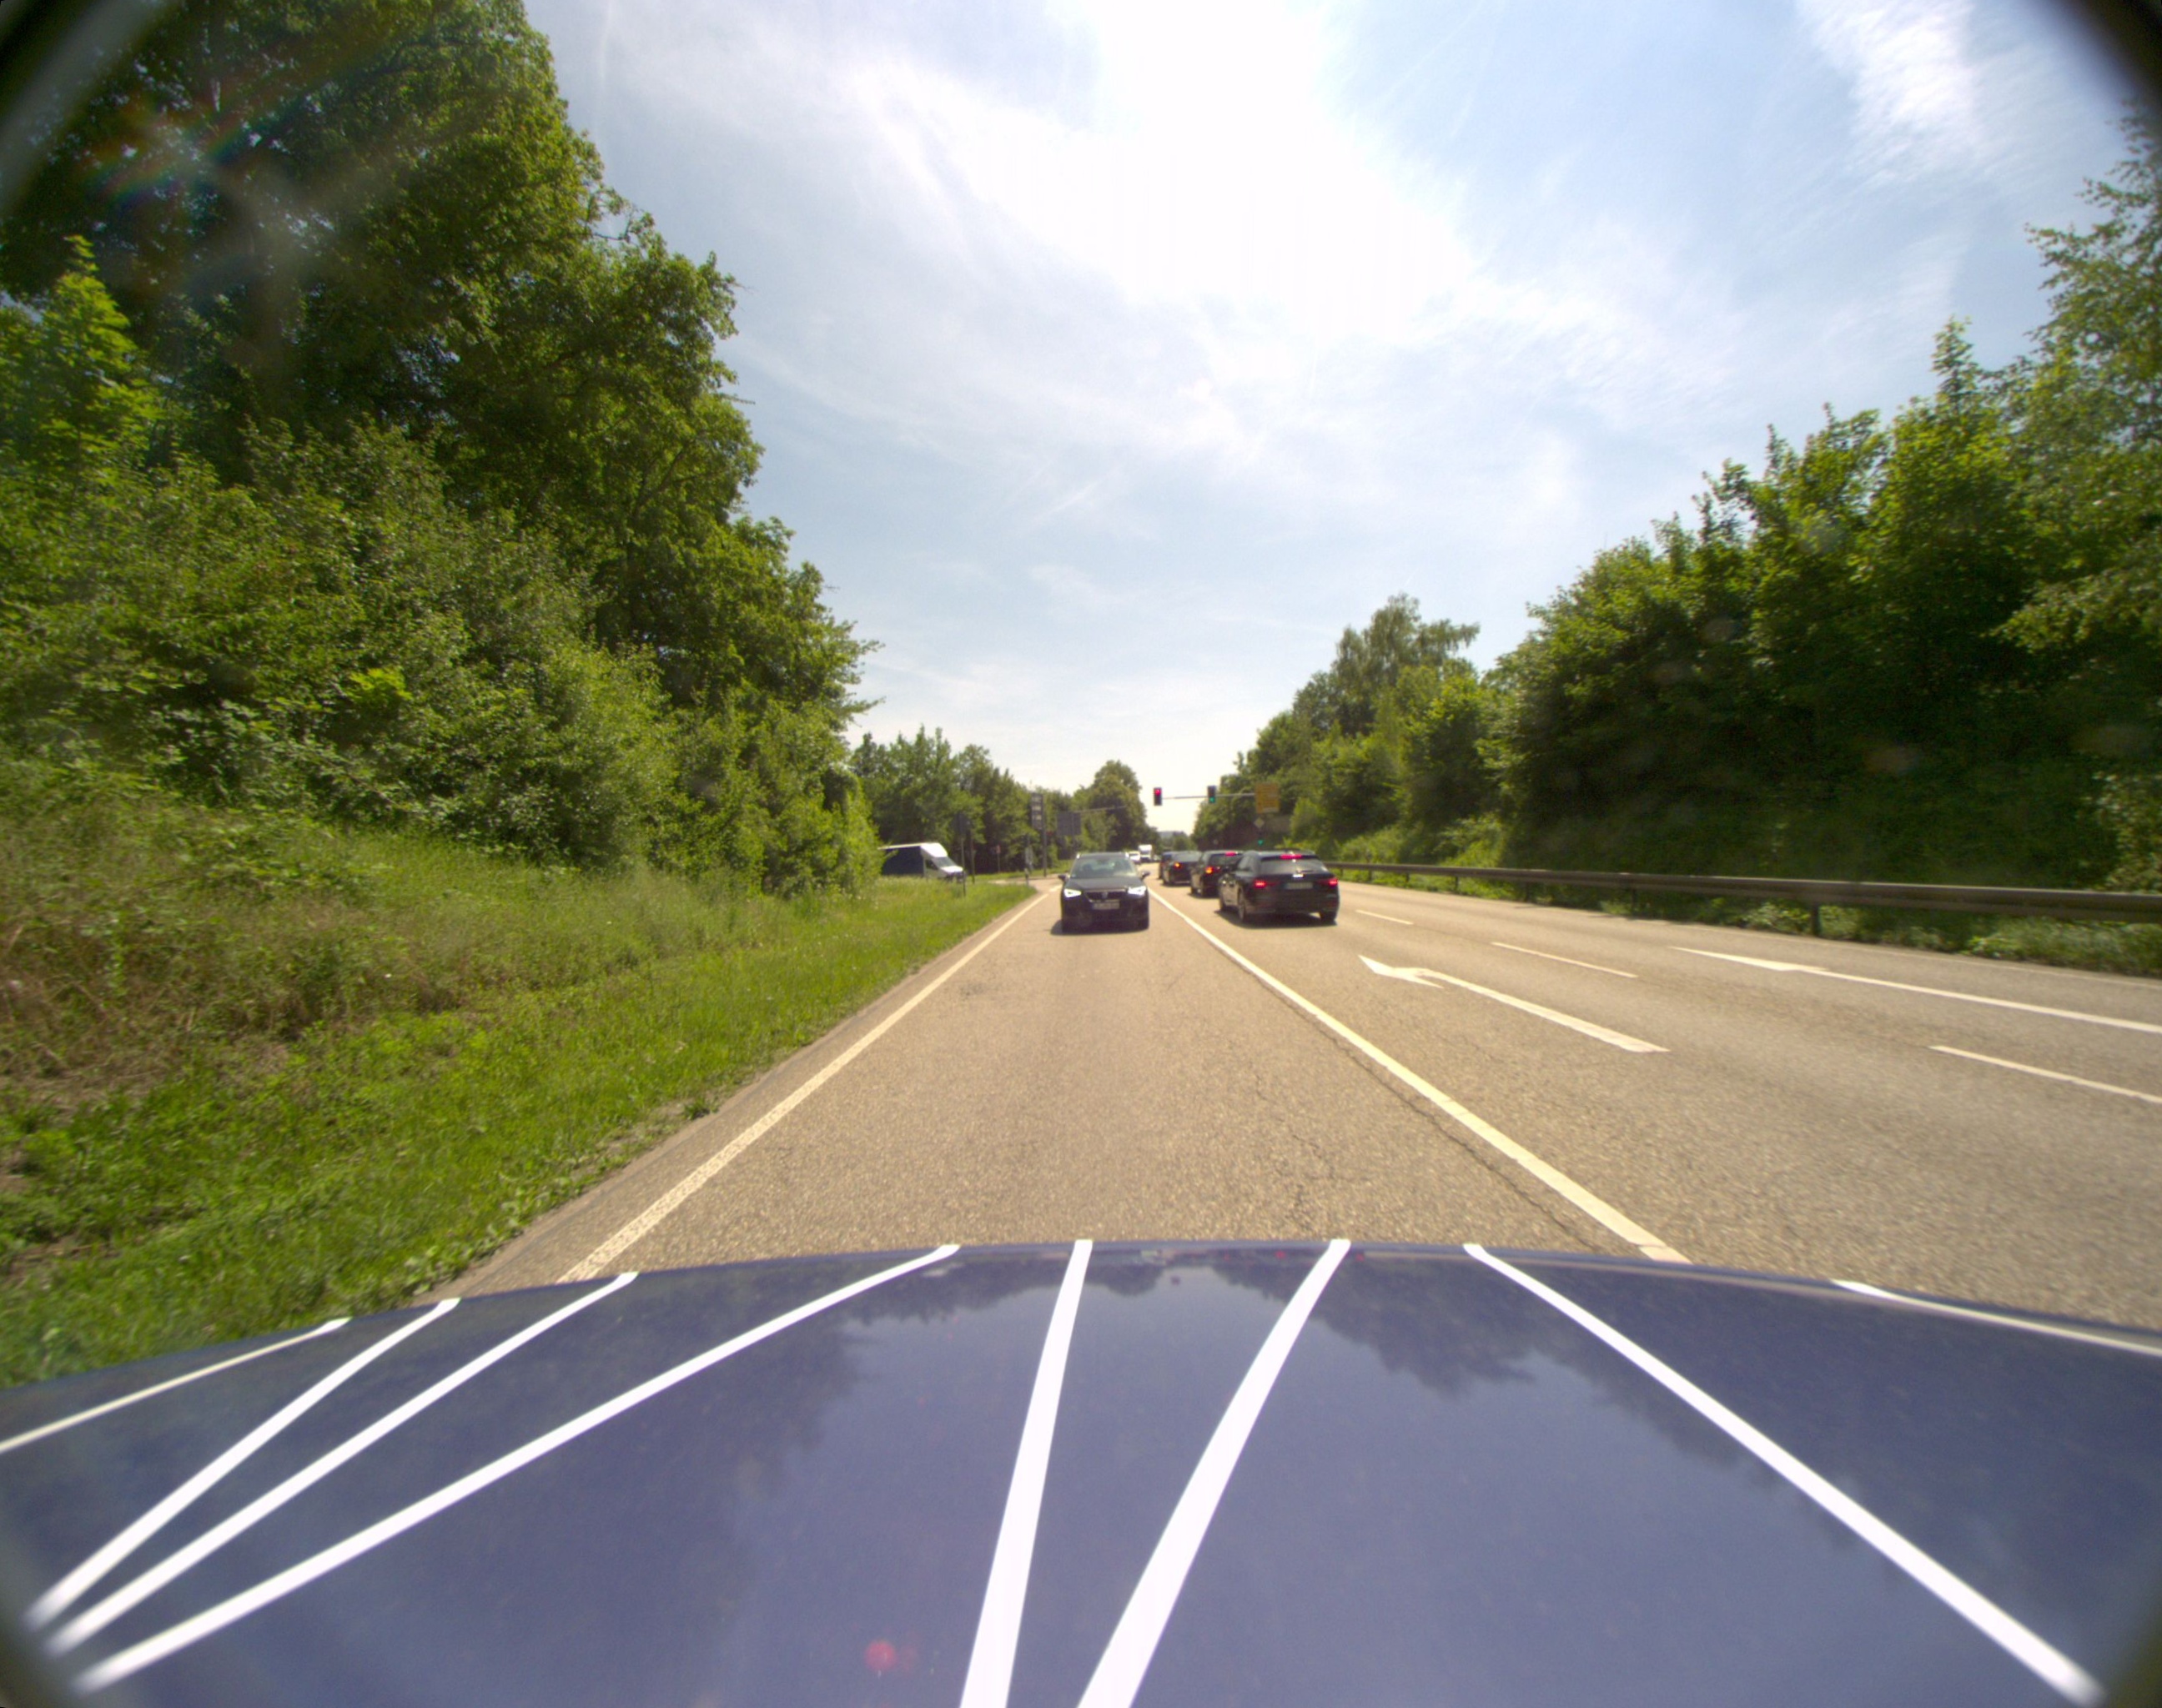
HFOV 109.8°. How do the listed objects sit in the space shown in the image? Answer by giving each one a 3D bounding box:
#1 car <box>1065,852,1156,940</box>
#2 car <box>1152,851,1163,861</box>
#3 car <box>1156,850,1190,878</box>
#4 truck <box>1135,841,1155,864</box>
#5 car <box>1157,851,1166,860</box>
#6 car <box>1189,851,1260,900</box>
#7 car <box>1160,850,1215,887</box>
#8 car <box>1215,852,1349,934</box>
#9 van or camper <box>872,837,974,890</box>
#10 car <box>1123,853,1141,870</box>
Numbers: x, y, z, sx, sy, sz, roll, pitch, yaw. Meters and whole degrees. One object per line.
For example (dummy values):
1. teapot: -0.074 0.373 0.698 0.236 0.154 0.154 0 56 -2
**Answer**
1. car: 0.645 0.778 16.081 1.626 1.535 4.000 -2 1 3
2. car: 15.266 0.439 150.987 1.997 1.756 4.002 -3 0 7
3. car: 5.071 0.551 42.348 1.570 1.431 3.771 -2 0 3
4. truck: 11.559 -0.356 136.142 2.838 3.795 8.454 -3 1 9
5. car: 18.080 0.379 170.704 1.997 1.756 4.002 -3 0 7
6. car: 4.543 0.631 24.655 1.685 1.406 4.182 -2 0 3
7. car: 4.610 0.590 33.442 1.786 1.438 4.640 -2 0 1
8. car: 4.109 0.717 16.273 1.808 1.445 4.387 -2 0 2
9. van or camper: -11.220 0.693 53.690 7.236 3.193 2.108 -4 1 29
10. car: 6.592 0.905 97.427 1.997 2.002 4.002 -4 0 7
